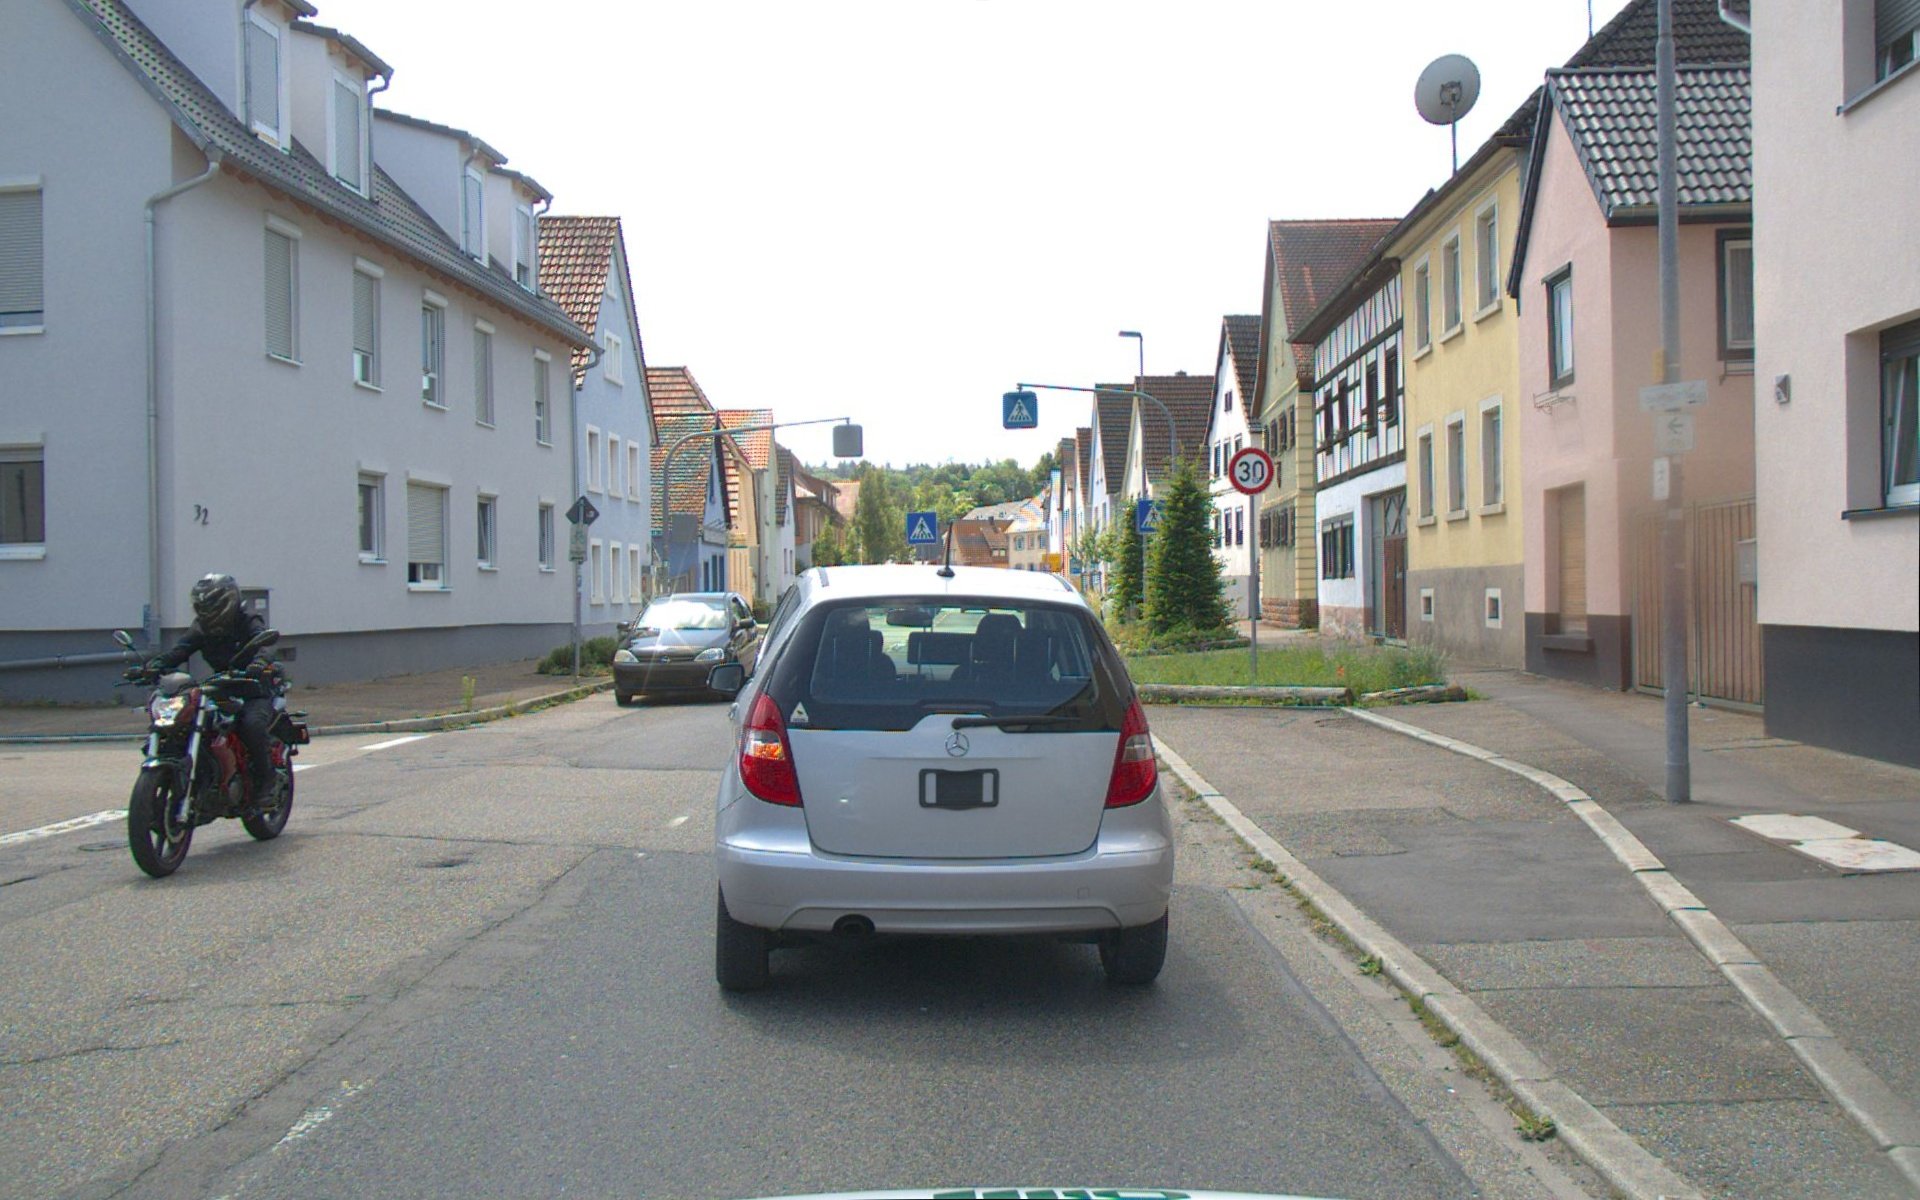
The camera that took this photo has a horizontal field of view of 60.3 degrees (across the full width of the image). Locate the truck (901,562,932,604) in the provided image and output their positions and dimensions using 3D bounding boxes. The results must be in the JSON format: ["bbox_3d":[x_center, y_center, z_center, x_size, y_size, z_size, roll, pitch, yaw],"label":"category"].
[{"bbox_3d":[-2.829,-1.075,109.653,1.953,2.581,6.737,0,-2,-1],"label":"truck"}]

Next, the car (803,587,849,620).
[{"bbox_3d":[-5.931,0.170,72.953,1.955,1.344,3.704,0,-2,-5],"label":"car"}]

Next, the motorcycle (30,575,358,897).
[{"bbox_3d":[-4.145,0.659,9.155,0.862,1.588,1.968,0,1,1],"label":"motorcycle"}]

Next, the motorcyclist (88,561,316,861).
[{"bbox_3d":[-4.160,0.581,9.134,0.878,1.582,0.807,0,0,0],"label":"motorcyclist"}]

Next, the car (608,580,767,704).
[{"bbox_3d":[-3.693,0.580,22.976,1.469,1.567,3.856,0,-1,1],"label":"car"}]

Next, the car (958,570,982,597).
[{"bbox_3d":[0.779,-1.335,134.949,1.953,2.049,3.999,0,-2,0],"label":"car"}]

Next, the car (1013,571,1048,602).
[{"bbox_3d":[4.489,-0.823,105.843,1.953,1.848,3.998,0,-2,-1],"label":"car"}]

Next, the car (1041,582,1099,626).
[{"bbox_3d":[4.111,0.174,62.349,1.953,1.534,3.999,0,-2,0],"label":"car"}]

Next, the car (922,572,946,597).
[{"bbox_3d":[-2.208,-1.314,141.316,1.952,2.049,4.000,0,-2,1],"label":"car"}]

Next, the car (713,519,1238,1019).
[{"bbox_3d":[-0.149,0.588,7.502,1.776,1.672,3.723,1,0,-7],"label":"car"}]

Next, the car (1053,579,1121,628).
[{"bbox_3d":[4.236,0.142,55.680,1.953,1.534,3.999,0,-2,0],"label":"car"}]

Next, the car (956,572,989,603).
[{"bbox_3d":[0.772,-0.766,104.844,1.953,1.848,3.998,0,-2,-1],"label":"car"}]

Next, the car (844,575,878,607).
[{"bbox_3d":[-5.458,-0.492,91.603,1.633,1.624,3.999,0,-2,0],"label":"car"}]
